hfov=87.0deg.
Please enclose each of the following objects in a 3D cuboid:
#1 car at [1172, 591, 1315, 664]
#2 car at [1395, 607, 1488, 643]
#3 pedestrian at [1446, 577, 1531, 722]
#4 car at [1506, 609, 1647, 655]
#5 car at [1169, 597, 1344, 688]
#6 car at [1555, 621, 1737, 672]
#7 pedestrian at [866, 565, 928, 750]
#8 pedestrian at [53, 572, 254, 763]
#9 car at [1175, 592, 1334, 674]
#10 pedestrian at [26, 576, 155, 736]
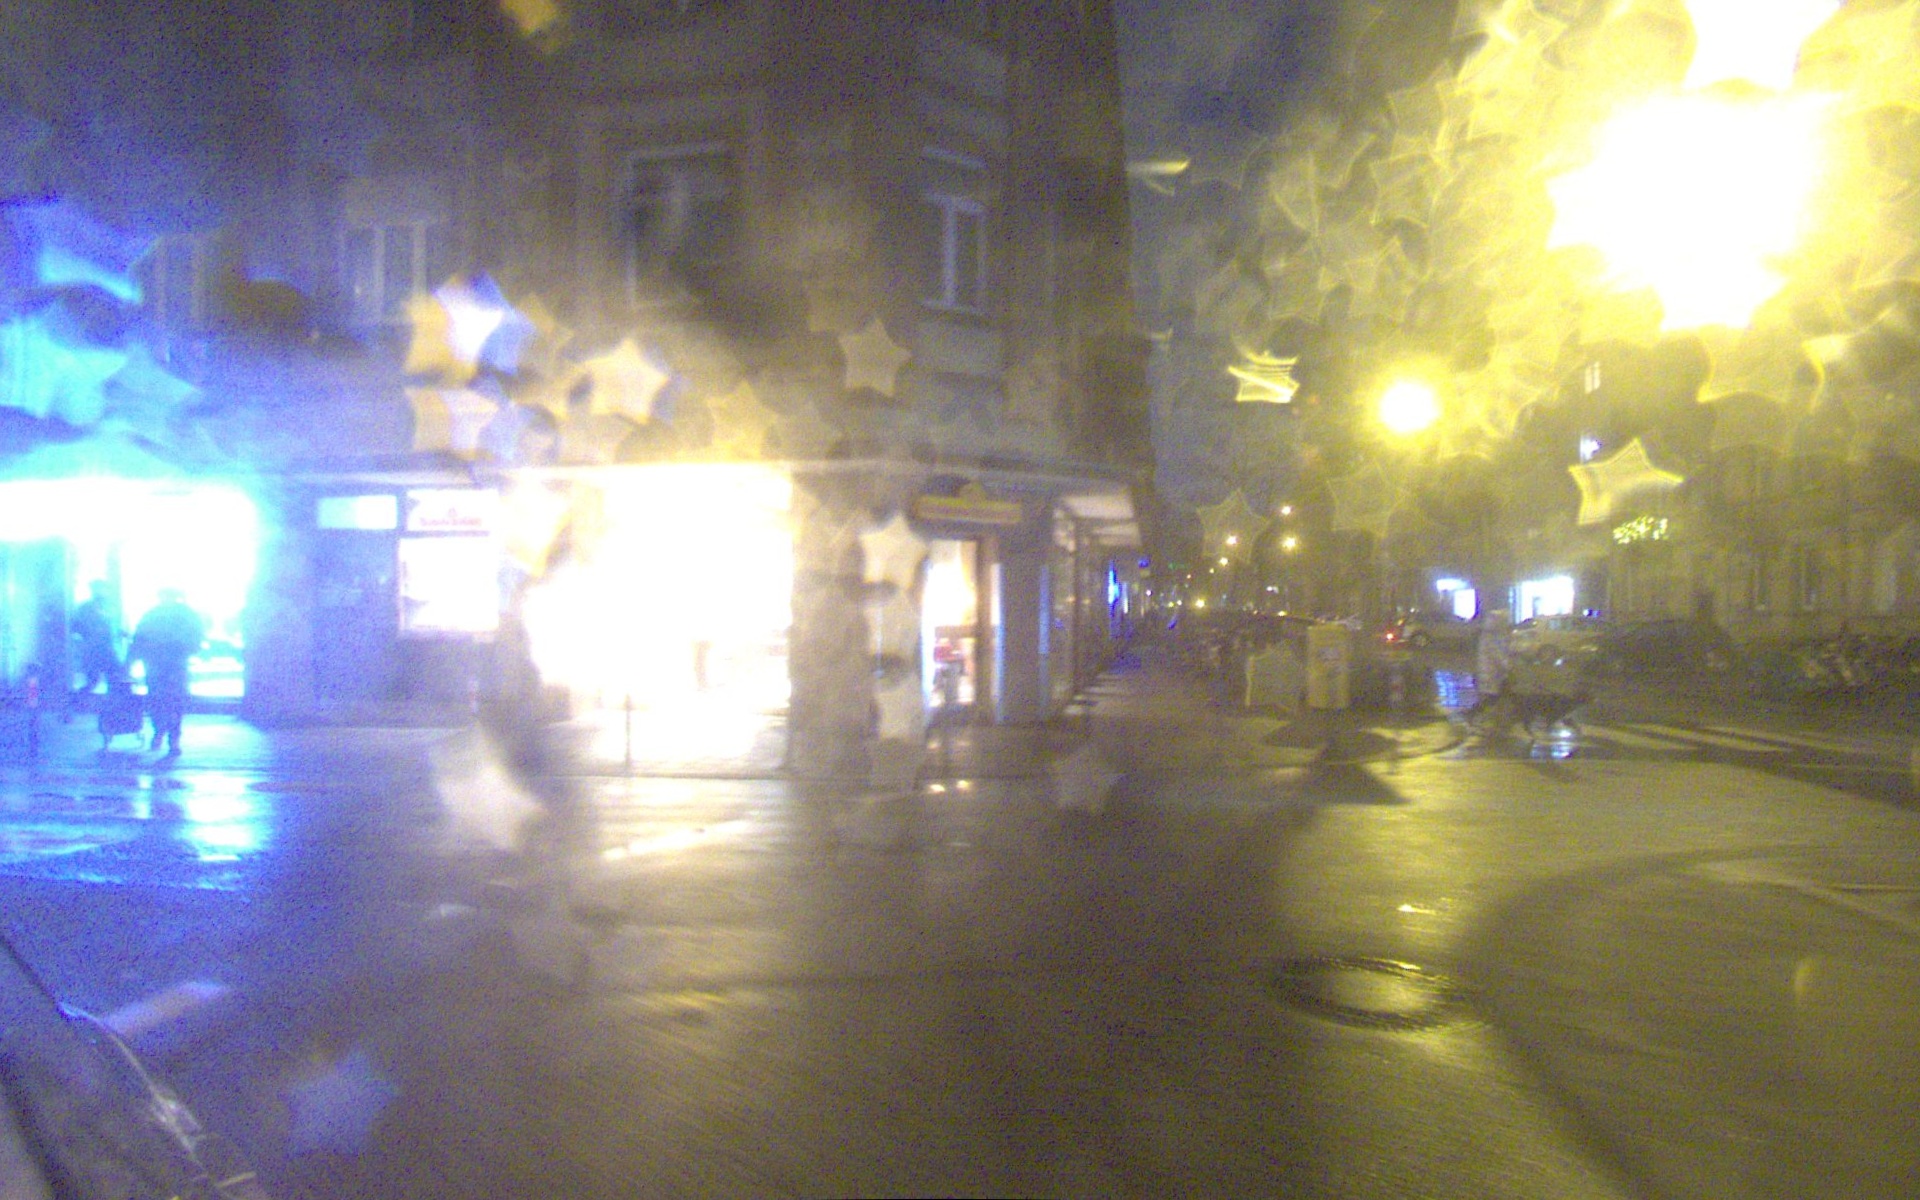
[{"bbox_3d":[8.402,0.755,30.229,3.963,2.029,1.990,0,1,15],"label":"car"},{"bbox_3d":[22.404,1.167,47.187,3.636,1.640,1.584,0,-2,14],"label":"car"},{"bbox_3d":[7.129,0.660,13.693,0.940,1.872,0.792,-1,-3,24],"label":"pedestrian"},{"bbox_3d":[19.402,1.008,31.981,3.428,1.414,1.584,0,-2,14],"label":"car"},{"bbox_3d":[7.246,0.986,24.983,3.963,2.029,1.990,0,1,15],"label":"car"},{"bbox_3d":[18.270,1.224,27.119,3.684,1.285,1.584,0,-2,14],"label":"car"},{"bbox_3d":[-0.694,0.601,10.910,0.619,1.923,0.655,0,-1,-6],"label":"pedestrian"},{"bbox_3d":[-8.387,0.671,10.566,1.399,1.877,0.955,0,-1,10],"label":"pedestrian"},{"bbox_3d":[7.902,0.837,27.394,3.963,2.029,1.990,0,1,15],"label":"car"},{"bbox_3d":[-10.403,0.641,12.125,1.067,1.846,0.674,0,1,13],"label":"pedestrian"}]
